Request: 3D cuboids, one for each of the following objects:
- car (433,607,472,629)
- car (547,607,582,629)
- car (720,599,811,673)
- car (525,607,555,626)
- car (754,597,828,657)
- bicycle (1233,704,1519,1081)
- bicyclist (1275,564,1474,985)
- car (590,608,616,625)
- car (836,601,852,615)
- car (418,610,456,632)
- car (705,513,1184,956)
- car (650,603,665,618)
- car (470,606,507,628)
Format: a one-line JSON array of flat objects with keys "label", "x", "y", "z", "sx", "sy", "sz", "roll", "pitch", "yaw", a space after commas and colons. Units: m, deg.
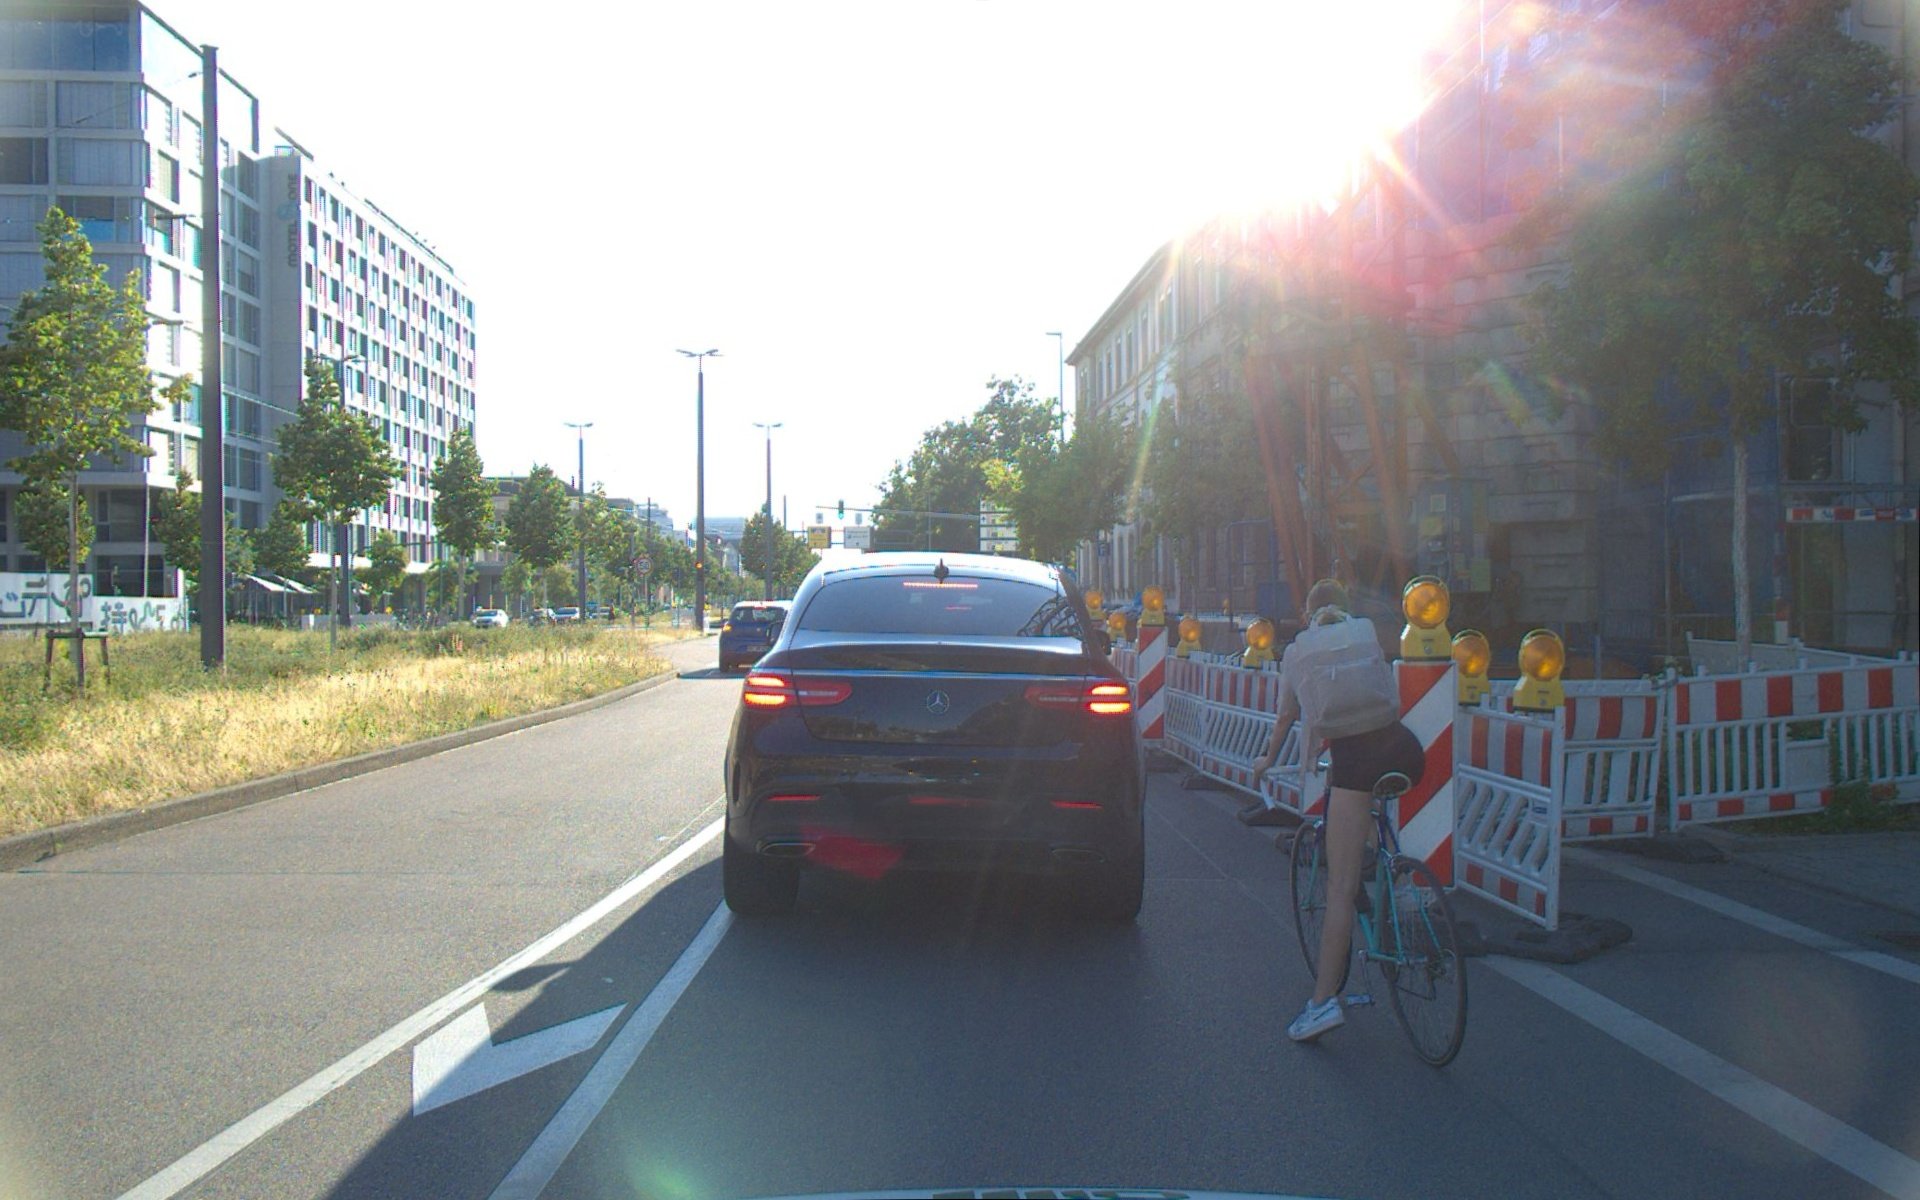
[{"label": "car", "x": -34.948, "y": 1.215, "z": 113.976, "sx": 1.674, "sy": 1.467, "sz": 3.580, "roll": 1, "pitch": 0, "yaw": -3}, {"label": "car", "x": -27.379, "y": 1.232, "z": 114.622, "sx": 1.674, "sy": 1.467, "sz": 3.580, "roll": 1, "pitch": 0, "yaw": -3}, {"label": "car", "x": -4.097, "y": 0.734, "z": 35.294, "sx": 1.674, "sy": 1.467, "sz": 3.580, "roll": 1, "pitch": 0, "yaw": -3}, {"label": "car", "x": -33.628, "y": 1.333, "z": 132.446, "sx": 1.674, "sy": 1.467, "sz": 3.580, "roll": 1, "pitch": 0, "yaw": -3}, {"label": "car", "x": -4.313, "y": 0.680, "z": 42.639, "sx": 1.674, "sy": 1.467, "sz": 3.580, "roll": 1, "pitch": 0, "yaw": -3}, {"label": "bicycle", "x": 1.446, "y": 0.968, "z": 6.029, "sx": 0.502, "sy": 1.070, "sz": 1.724, "roll": 1, "pitch": 0, "yaw": -3}, {"label": "bicyclist", "x": 1.463, "y": 0.595, "z": 5.908, "sx": 0.512, "sy": 1.420, "sz": 0.614, "roll": 1, "pitch": -1, "yaw": -4}, {"label": "car", "x": -31.671, "y": 1.424, "z": 146.770, "sx": 1.674, "sy": 1.467, "sz": 3.580, "roll": 1, "pitch": 0, "yaw": -3}, {"label": "car", "x": -12.862, "y": 0.893, "z": 184.087, "sx": 1.674, "sy": 1.467, "sz": 3.580, "roll": 1, "pitch": 0, "yaw": -3}, {"label": "car", "x": -36.972, "y": 1.469, "z": 116.999, "sx": 1.674, "sy": 1.467, "sz": 3.580, "roll": 1, "pitch": 0, "yaw": -3}, {"label": "car", "x": -0.088, "y": 0.566, "z": 8.846, "sx": 1.953, "sy": 1.803, "sz": 3.999, "roll": 1, "pitch": 0, "yaw": -1}, {"label": "car", "x": -42.933, "y": 1.475, "z": 234.543, "sx": 1.959, "sy": 2.049, "sz": 3.987, "roll": 1, "pitch": 0, "yaw": -13}, {"label": "car", "x": -32.770, "y": 1.142, "z": 115.003, "sx": 1.674, "sy": 1.467, "sz": 3.580, "roll": 1, "pitch": 0, "yaw": -3}]
